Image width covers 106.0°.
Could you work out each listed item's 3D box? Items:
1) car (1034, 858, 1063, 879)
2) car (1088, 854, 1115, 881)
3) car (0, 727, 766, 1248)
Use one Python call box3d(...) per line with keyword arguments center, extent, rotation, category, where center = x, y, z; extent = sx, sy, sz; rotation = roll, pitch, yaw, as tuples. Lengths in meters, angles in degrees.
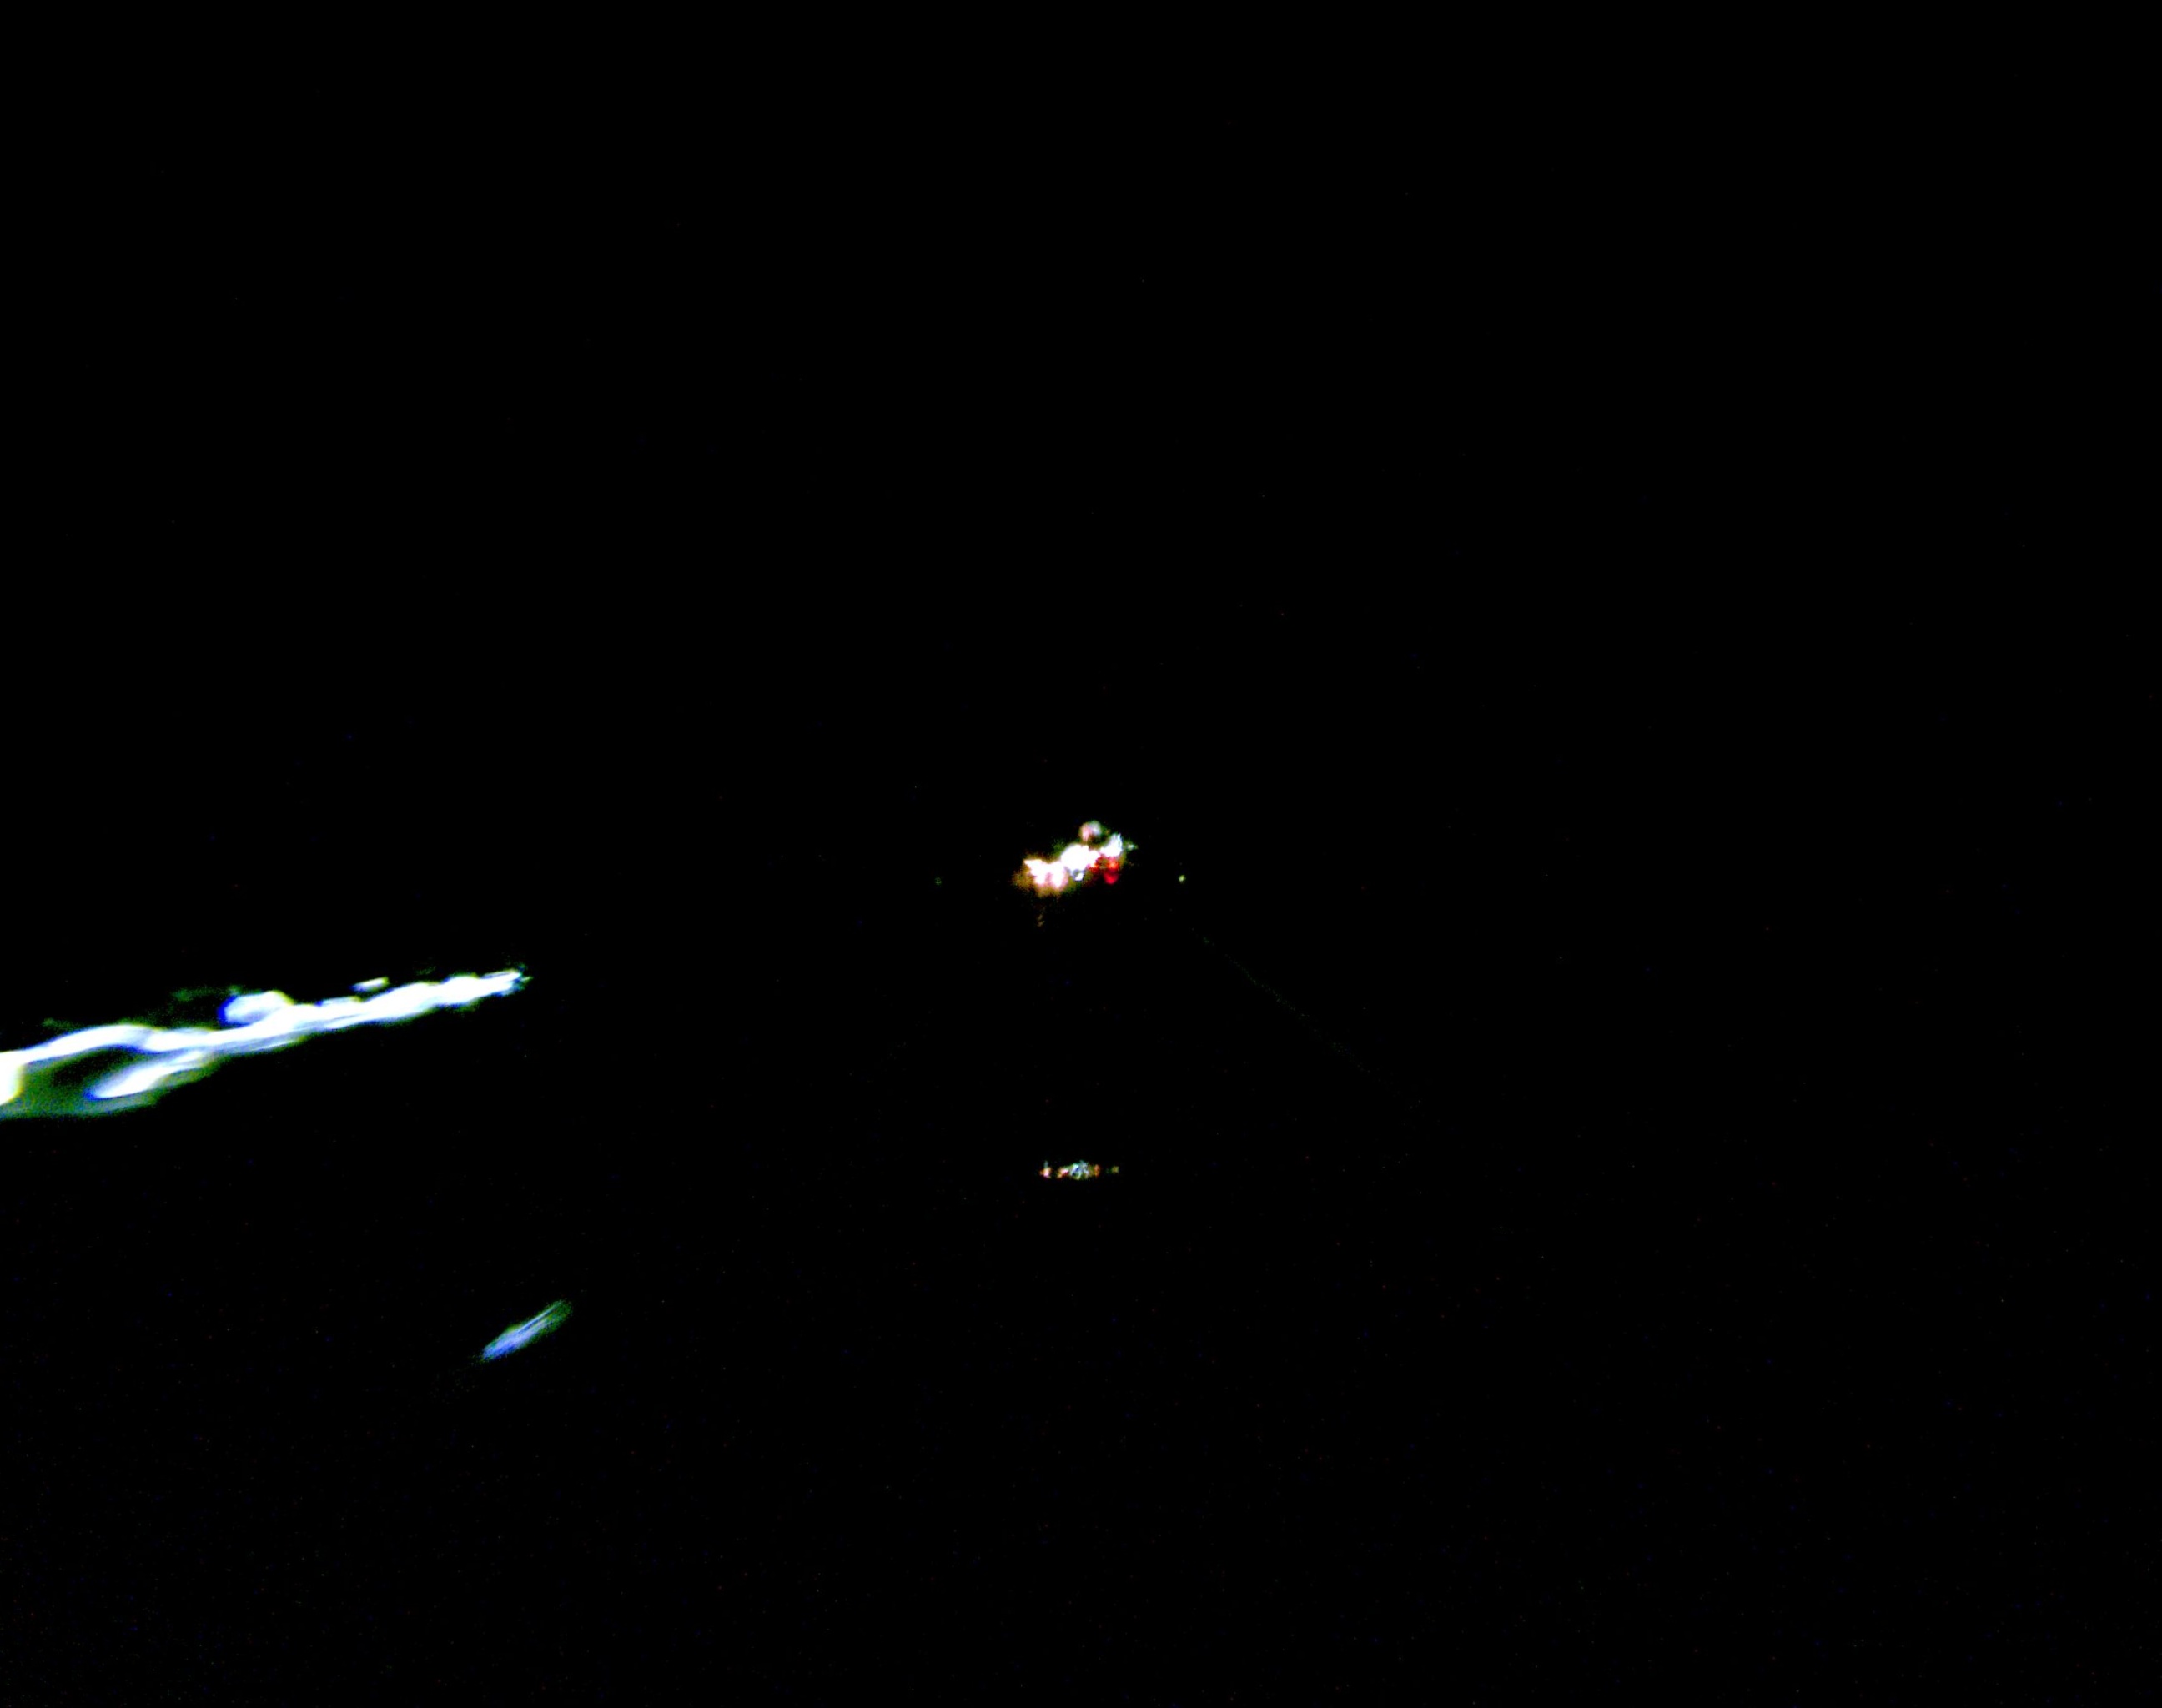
box3d(center=(-2.489, 1.093, 63.151), extent=(1.986, 1.549, 4.001), rotation=(-2, 0, 2), category="car")
box3d(center=(1.404, 0.958, 58.004), extent=(1.836, 1.740, 4.001), rotation=(1, 1, 1), category="car")
box3d(center=(-3.828, 0.530, 5.170), extent=(1.986, 2.014, 4.002), rotation=(0, 0, 2), category="car")
